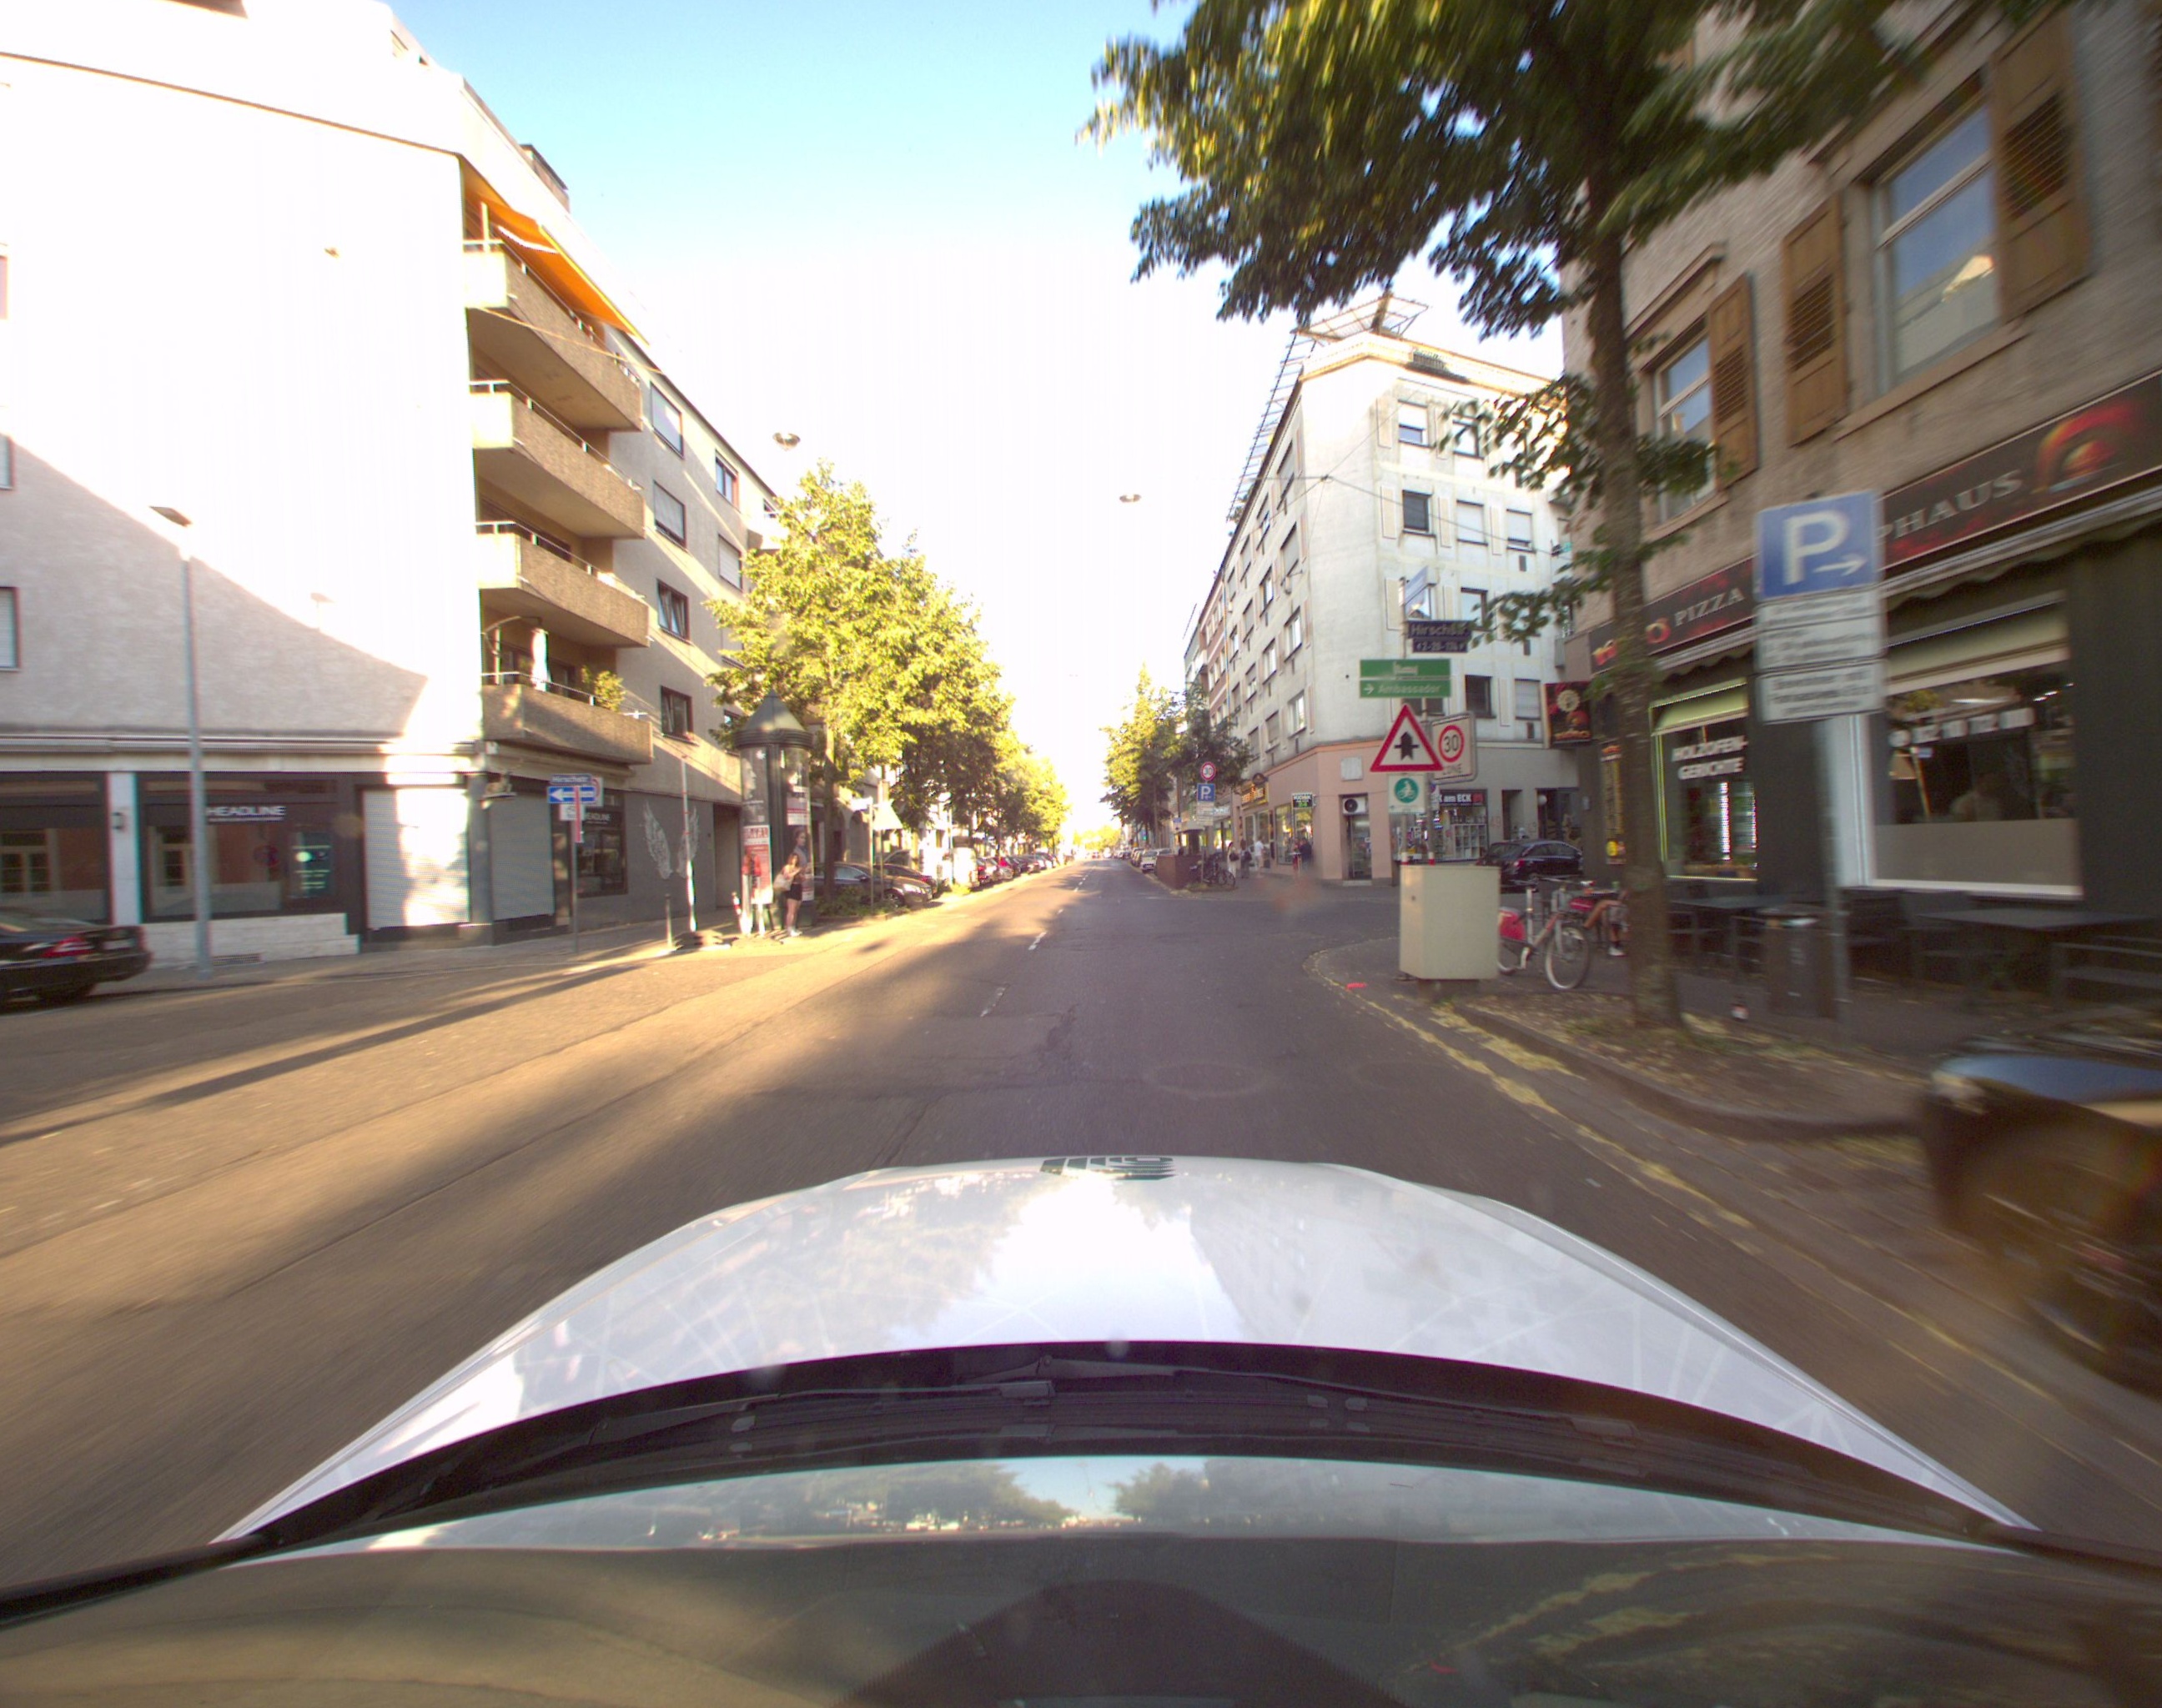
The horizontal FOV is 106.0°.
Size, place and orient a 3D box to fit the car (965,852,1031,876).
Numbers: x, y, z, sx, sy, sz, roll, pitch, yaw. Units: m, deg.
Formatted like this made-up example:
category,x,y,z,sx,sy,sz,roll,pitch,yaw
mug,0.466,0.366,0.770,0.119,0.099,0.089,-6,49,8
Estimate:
category,x,y,z,sx,sy,sz,roll,pitch,yaw
car,-5.915,0.704,58.523,4.425,1.568,1.920,-1,0,2

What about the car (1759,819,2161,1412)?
category,x,y,z,sx,sy,sz,roll,pitch,yaw
car,3.449,0.612,0.813,1.778,1.375,4.525,-5,0,1

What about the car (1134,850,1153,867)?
category,x,y,z,sx,sy,sz,roll,pitch,yaw
car,5.561,0.417,72.679,1.507,1.406,3.839,-2,0,3

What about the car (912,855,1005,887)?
category,x,y,z,sx,sy,sz,roll,pitch,yaw
car,-6.274,0.865,41.943,4.425,1.506,1.845,-1,0,2

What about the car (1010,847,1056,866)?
category,x,y,z,sx,sy,sz,roll,pitch,yaw
car,-4.839,0.269,82.415,4.425,1.759,1.920,-1,0,2

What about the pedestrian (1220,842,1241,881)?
category,x,y,z,sx,sy,sz,roll,pitch,yaw
pedestrian,6.484,0.312,35.295,0.791,1.625,0.915,-2,0,14

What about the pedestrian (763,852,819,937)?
category,x,y,z,sx,sy,sz,roll,pitch,yaw
pedestrian,-5.959,0.812,16.750,0.706,1.686,0.836,-2,0,10

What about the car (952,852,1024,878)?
category,x,y,z,sx,sy,sz,roll,pitch,yaw
car,-6.127,0.733,53.810,4.425,1.568,1.920,-1,0,2

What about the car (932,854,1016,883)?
category,x,y,z,sx,sy,sz,roll,pitch,yaw
car,-6.071,0.804,46.512,4.425,1.484,1.810,-1,0,2

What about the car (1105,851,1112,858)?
category,x,y,z,sx,sy,sz,roll,pitch,yaw
car,6.583,0.093,195.121,1.714,1.475,3.306,-3,-1,3

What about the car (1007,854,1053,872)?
category,x,y,z,sx,sy,sz,roll,pitch,yaw
car,-4.968,0.865,80.309,4.287,1.598,1.920,-1,0,2

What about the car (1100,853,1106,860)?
category,x,y,z,sx,sy,sz,roll,pitch,yaw
car,5.725,0.664,212.458,1.563,1.506,3.306,-3,-1,3

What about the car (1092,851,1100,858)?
category,x,y,z,sx,sy,sz,roll,pitch,yaw
car,3.648,0.205,192.488,1.745,1.540,3.306,-3,-1,3

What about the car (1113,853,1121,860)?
category,x,y,z,sx,sy,sz,roll,pitch,yaw
car,7.660,0.531,173.019,1.507,1.298,3.306,-2,-1,3

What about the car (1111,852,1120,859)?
category,x,y,z,sx,sy,sz,roll,pitch,yaw
car,7.808,0.406,184.263,1.745,1.540,3.306,-3,-1,3

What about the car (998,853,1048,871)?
category,x,y,z,sx,sy,sz,roll,pitch,yaw
car,-5.353,0.706,75.960,4.425,1.523,1.920,-1,0,2

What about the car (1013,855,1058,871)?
category,x,y,z,sx,sy,sz,roll,pitch,yaw
car,-4.743,0.941,85.529,4.425,1.499,1.920,-1,0,2

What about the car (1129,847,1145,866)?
category,x,y,z,sx,sy,sz,roll,pitch,yaw
car,5.758,0.289,84.367,1.507,1.864,4.238,-2,-1,3

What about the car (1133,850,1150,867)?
category,x,y,z,sx,sy,sz,roll,pitch,yaw
car,5.789,0.440,78.061,1.507,1.561,3.516,-2,0,3

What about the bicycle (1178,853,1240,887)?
category,x,y,z,sx,sy,sz,roll,pitch,yaw
bicycle,4.343,0.551,27.772,1.935,1.074,0.710,-2,0,33

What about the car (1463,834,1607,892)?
category,x,y,z,sx,sy,sz,roll,pitch,yaw
car,13.179,0.209,23.661,3.679,1.488,1.776,-2,2,-23

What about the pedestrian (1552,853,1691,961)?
category,x,y,z,sx,sy,sz,roll,pitch,yaw
pedestrian,6.293,0.597,9.568,0.679,1.141,1.361,-4,-2,2

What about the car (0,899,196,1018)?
category,x,y,z,sx,sy,sz,roll,pitch,yaw
car,-15.158,1.435,10.741,4.211,1.380,1.985,-2,0,-22

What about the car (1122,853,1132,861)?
category,x,y,z,sx,sy,sz,roll,pitch,yaw
car,7.428,0.455,132.024,1.507,1.276,3.306,-2,-1,3

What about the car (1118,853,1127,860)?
category,x,y,z,sx,sy,sz,roll,pitch,yaw
car,7.691,0.532,150.146,1.507,1.263,3.306,-2,-1,3

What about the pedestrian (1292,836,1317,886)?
category,x,y,z,sx,sy,sz,roll,pitch,yaw
pedestrian,7.361,0.216,26.876,0.565,1.583,0.664,-4,1,2

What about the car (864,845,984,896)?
category,x,y,z,sx,sy,sz,roll,pitch,yaw
car,-6.509,0.674,34.191,4.555,1.962,1.991,-1,0,1

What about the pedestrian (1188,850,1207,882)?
category,x,y,z,sx,sy,sz,roll,pitch,yaw
pedestrian,5.145,0.523,35.953,0.723,1.378,0.781,-2,0,1

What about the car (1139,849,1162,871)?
category,x,y,z,sx,sy,sz,roll,pitch,yaw
car,5.151,0.454,60.604,1.507,1.578,3.220,-2,0,3

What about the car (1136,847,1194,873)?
category,x,y,z,sx,sy,sz,roll,pitch,yaw
car,5.442,0.380,52.487,1.654,1.588,3.846,-2,0,44

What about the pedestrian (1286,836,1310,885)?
category,x,y,z,sx,sy,sz,roll,pitch,yaw
pedestrian,7.374,0.206,27.641,0.565,1.599,0.664,-4,1,2

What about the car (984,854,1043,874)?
category,x,y,z,sx,sy,sz,roll,pitch,yaw
car,-5.349,0.790,65.036,4.425,1.448,1.920,-1,0,2

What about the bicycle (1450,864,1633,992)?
category,x,y,z,sx,sy,sz,roll,pitch,yaw
bicycle,4.593,0.680,8.311,0.775,1.111,1.900,-4,-1,2

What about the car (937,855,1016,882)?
category,x,y,z,sx,sy,sz,roll,pitch,yaw
car,-6.215,0.865,48.821,4.425,1.458,1.860,-1,0,2

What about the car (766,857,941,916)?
category,x,y,z,sx,sy,sz,roll,pitch,yaw
car,-6.552,0.915,23.797,4.531,1.541,1.811,-1,0,0

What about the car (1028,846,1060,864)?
category,x,y,z,sx,sy,sz,roll,pitch,yaw
car,-5.436,0.147,119.898,4.425,2.435,1.920,-2,0,2

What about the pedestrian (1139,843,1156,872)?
category,x,y,z,sx,sy,sz,roll,pitch,yaw
pedestrian,4.433,0.229,54.130,0.916,1.926,1.014,-1,0,-8

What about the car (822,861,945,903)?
category,x,y,z,sx,sy,sz,roll,pitch,yaw
car,-7.021,0.985,29.194,3.773,1.391,2.046,-1,-1,4

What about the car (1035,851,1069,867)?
category,x,y,z,sx,sy,sz,roll,pitch,yaw
car,-3.915,0.708,109.910,4.425,1.959,1.920,-2,0,2

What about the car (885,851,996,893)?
category,x,y,z,sx,sy,sz,roll,pitch,yaw
car,-6.297,0.797,36.925,4.554,1.698,2.061,-1,0,2

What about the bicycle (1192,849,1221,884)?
category,x,y,z,sx,sy,sz,roll,pitch,yaw
bicycle,4.529,0.434,29.230,0.593,1.178,1.856,-2,0,21

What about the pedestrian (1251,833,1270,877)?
category,x,y,z,sx,sy,sz,roll,pitch,yaw
pedestrian,7.577,0.027,34.465,0.693,1.805,0.894,-2,0,10

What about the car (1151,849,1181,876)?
category,x,y,z,sx,sy,sz,roll,pitch,yaw
car,4.909,0.474,47.506,1.536,1.433,3.681,-2,0,3

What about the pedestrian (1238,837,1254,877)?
category,x,y,z,sx,sy,sz,roll,pitch,yaw
pedestrian,7.084,0.111,34.967,0.626,1.680,0.895,-2,0,12
